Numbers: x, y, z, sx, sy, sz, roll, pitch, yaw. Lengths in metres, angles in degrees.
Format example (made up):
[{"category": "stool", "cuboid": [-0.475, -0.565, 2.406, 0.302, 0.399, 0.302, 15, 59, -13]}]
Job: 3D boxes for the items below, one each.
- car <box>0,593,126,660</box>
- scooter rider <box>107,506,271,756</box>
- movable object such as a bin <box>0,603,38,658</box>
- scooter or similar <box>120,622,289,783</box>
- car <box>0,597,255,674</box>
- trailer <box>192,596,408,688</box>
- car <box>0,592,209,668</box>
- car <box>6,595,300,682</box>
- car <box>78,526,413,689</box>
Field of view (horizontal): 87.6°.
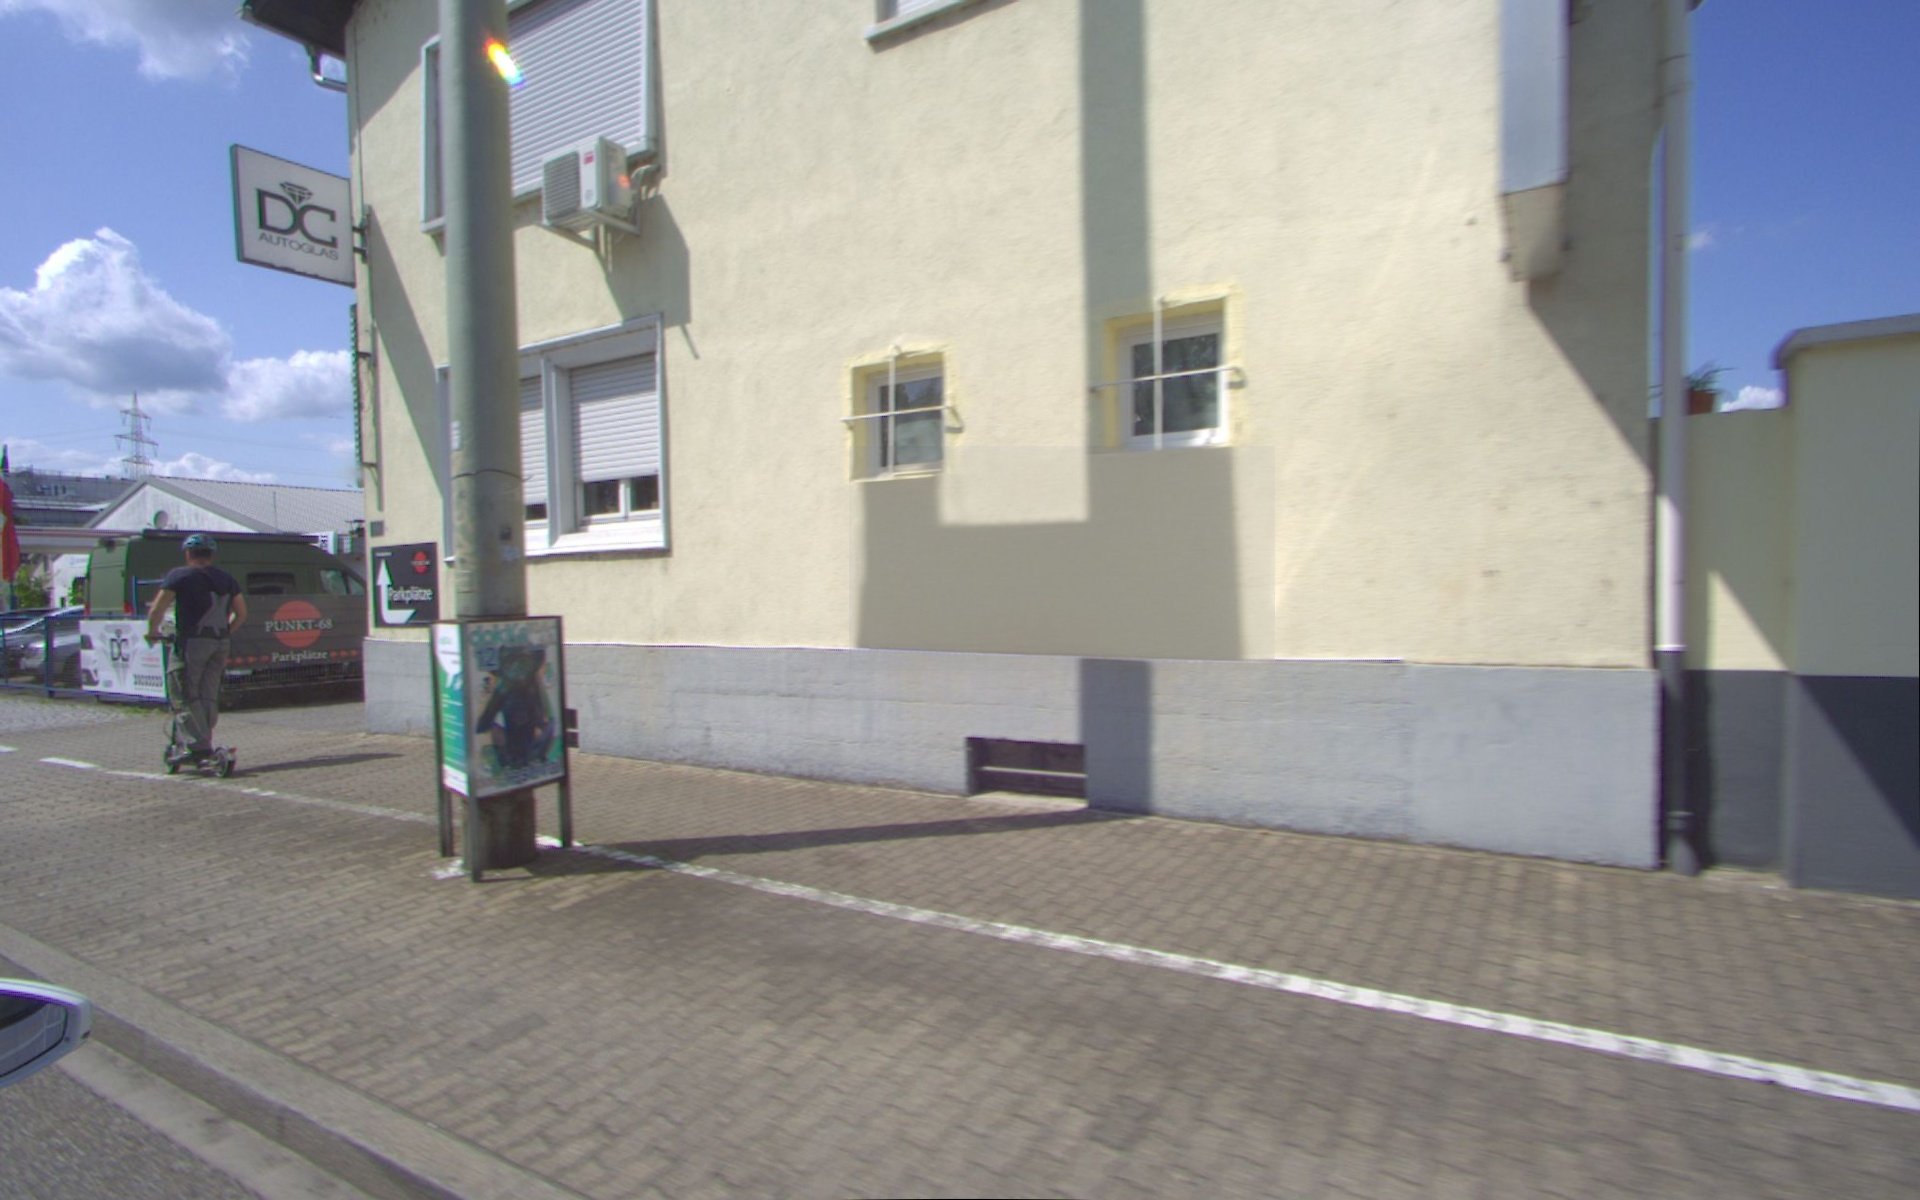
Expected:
[{"category": "car", "cuboid": [-22.105, 0.623, 23.392, 3.955, 1.462, 1.696, -2, 1, -40]}, {"category": "scooter rider", "cuboid": [-6.486, 0.237, 8.443, 0.774, 1.990, 0.715, -2, 4, 33]}, {"category": "movable object such as a bin", "cuboid": [-26.487, 0.840, 27.571, 0.939, 1.464, 1.319, -1, 2, 26]}, {"category": "scooter or similar", "cuboid": [-6.326, 0.812, 8.365, 1.588, 1.211, 0.539, -1, 3, 32]}, {"category": "car", "cuboid": [-17.413, 0.675, 21.008, 1.799, 1.374, 3.967, -1, 1, 40]}, {"category": "trailer", "cuboid": [-11.232, 0.661, 17.180, 1.284, 1.351, 2.775, -1, 2, 33]}, {"category": "car", "cuboid": [-19.391, 0.629, 22.419, 3.958, 1.516, 1.734, -2, 1, -43]}, {"category": "car", "cuboid": [-15.572, 0.668, 19.506, 1.798, 1.451, 4.164, -1, 1, 39]}, {"category": "car", "cuboid": [-12.977, 0.090, 18.486, 2.122, 2.608, 4.524, -1, 1, 34]}]
